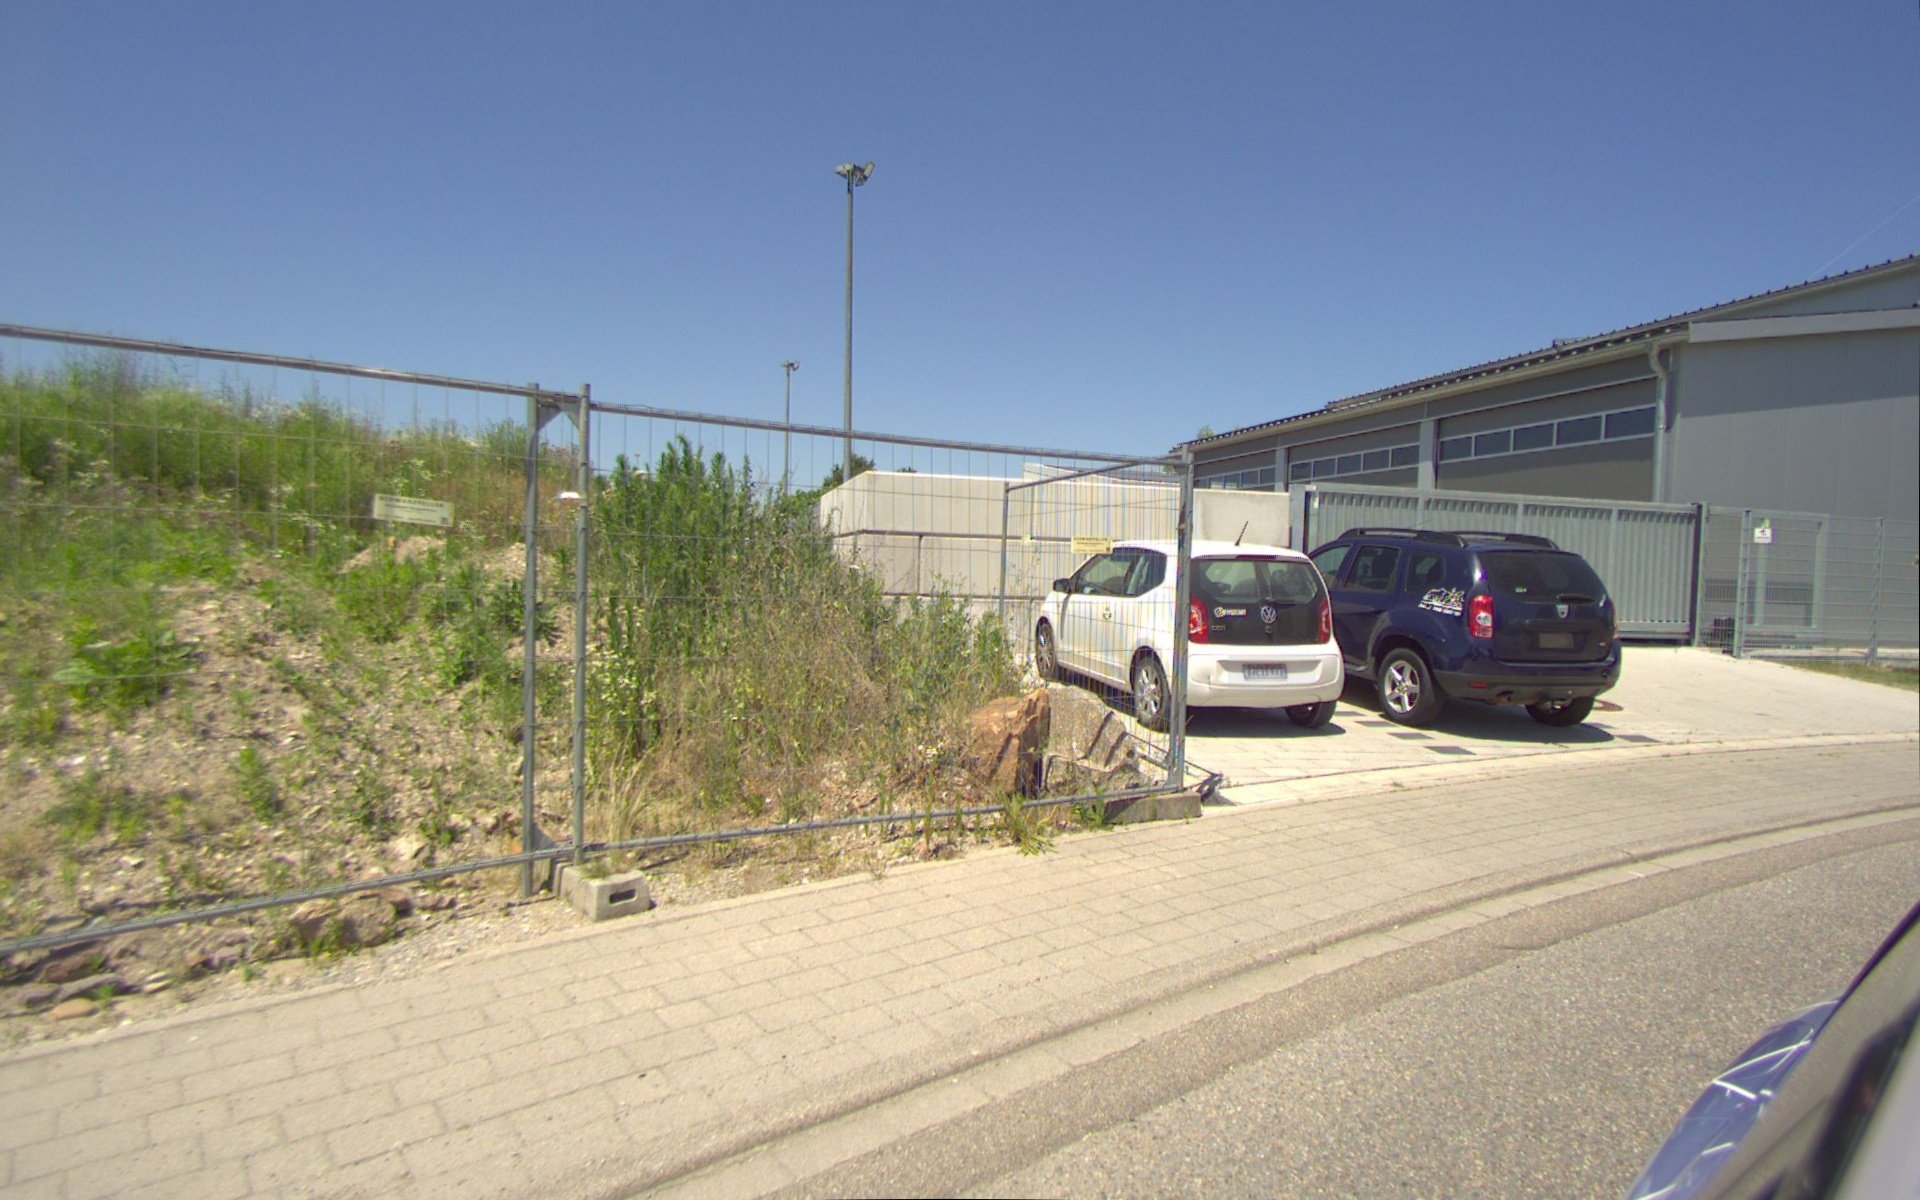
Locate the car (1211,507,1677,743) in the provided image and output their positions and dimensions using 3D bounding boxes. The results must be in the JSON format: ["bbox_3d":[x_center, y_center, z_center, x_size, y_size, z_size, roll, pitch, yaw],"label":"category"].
[{"bbox_3d":[4.294,0.043,9.854,1.819,1.674,4.037,1,6,-14],"label":"car"}]

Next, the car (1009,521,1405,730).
[{"bbox_3d":[1.973,0.060,9.489,1.853,1.479,4.035,1,4,-14],"label":"car"}]
